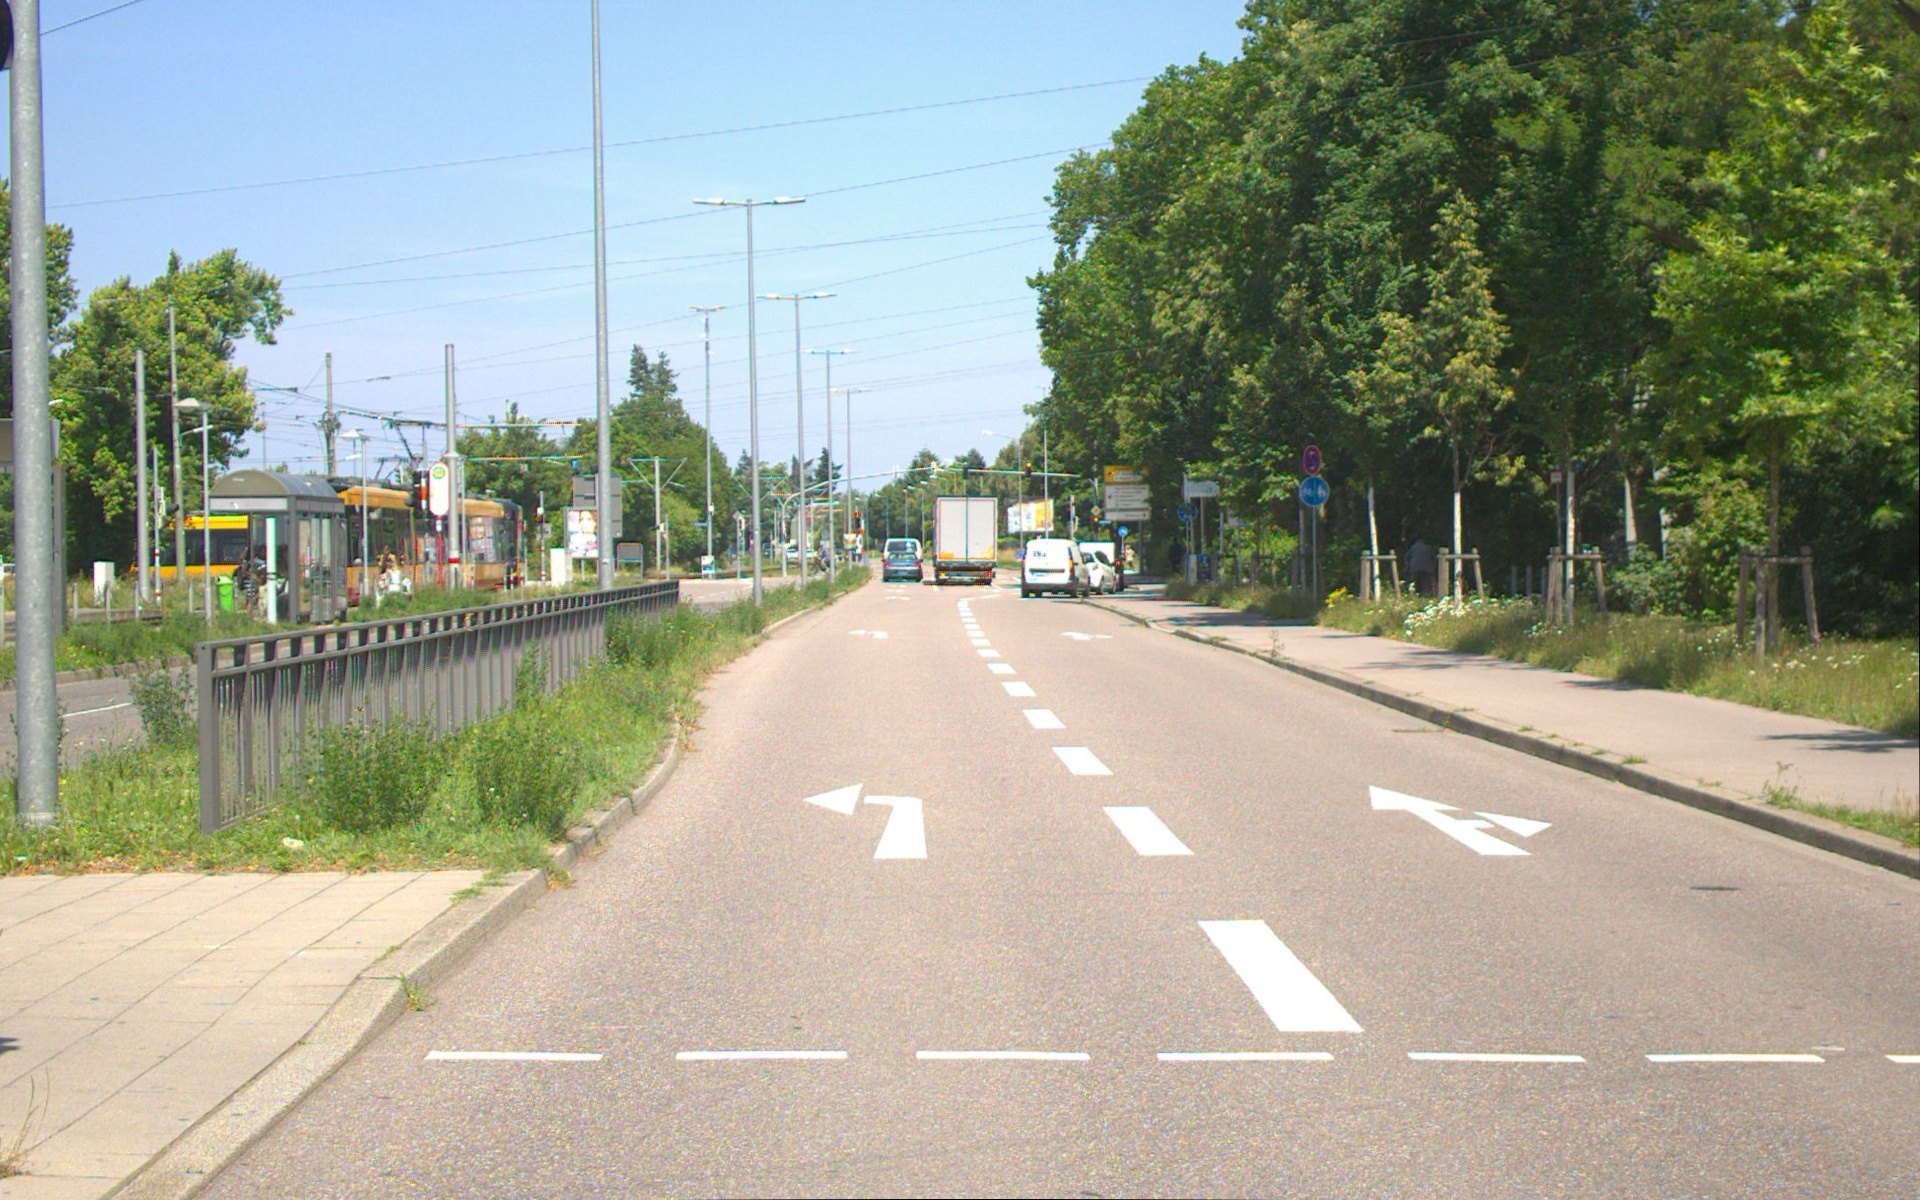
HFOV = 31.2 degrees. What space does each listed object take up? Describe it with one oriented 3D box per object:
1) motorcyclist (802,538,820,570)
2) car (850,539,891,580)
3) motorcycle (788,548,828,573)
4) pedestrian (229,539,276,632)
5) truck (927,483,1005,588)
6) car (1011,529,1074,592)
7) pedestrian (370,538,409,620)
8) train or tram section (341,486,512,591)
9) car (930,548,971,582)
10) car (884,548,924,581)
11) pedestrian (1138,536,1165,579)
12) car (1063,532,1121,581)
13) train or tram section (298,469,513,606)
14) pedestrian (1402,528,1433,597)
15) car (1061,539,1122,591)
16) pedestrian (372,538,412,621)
[{"bbox_3d":[-8.639,-2.687,199.206,0.924,1.829,0.850,-1,1,-12],"label":"motorcyclist"},{"bbox_3d":[-4.559,-2.078,175.168,1.993,2.007,4.000,0,1,-1],"label":"car"},{"bbox_3d":[-8.785,-2.277,199.130,2.182,1.402,0.848,-1,1,-11],"label":"motorcycle"},{"bbox_3d":[-14.260,-0.306,69.304,0.785,1.862,0.817,0,1,-1],"label":"pedestrian"},{"bbox_3d":[0.208,-2.721,146.055,3.205,4.344,6.561,0,1,-1],"label":"truck"},{"bbox_3d":[2.505,-1.225,105.518,1.779,1.897,4.000,0,1,-1],"label":"car"},{"bbox_3d":[-14.098,-0.528,84.950,0.815,2.007,0.938,0,1,-1],"label":"pedestrian"},{"bbox_3d":[-22.075,-2.486,139.862,2.930,3.776,33.098,0,1,-16],"label":"train or tram section"},{"bbox_3d":[-0.438,-1.559,153.620,1.811,1.459,4.000,0,1,-1],"label":"car"},{"bbox_3d":[-2.562,-1.654,157.887,1.811,1.459,4.000,0,1,-1],"label":"car"},{"bbox_3d":[9.101,-2.019,163.050,1.185,2.007,1.214,0,1,0],"label":"pedestrian"},{"bbox_3d":[4.543,-1.517,118.791,1.779,1.663,4.000,0,1,-1],"label":"car"},{"bbox_3d":[-17.199,-1.989,109.574,2.957,3.736,30.036,0,1,-2],"label":"train or tram section"},{"bbox_3d":[9.492,-0.776,71.359,0.604,1.433,0.556,0,1,6],"label":"pedestrian"},{"bbox_3d":[4.294,-1.153,112.448,1.779,1.663,4.000,0,1,-1],"label":"car"},{"bbox_3d":[-13.820,-0.512,83.657,0.815,2.007,0.938,0,1,-1],"label":"pedestrian"}]
